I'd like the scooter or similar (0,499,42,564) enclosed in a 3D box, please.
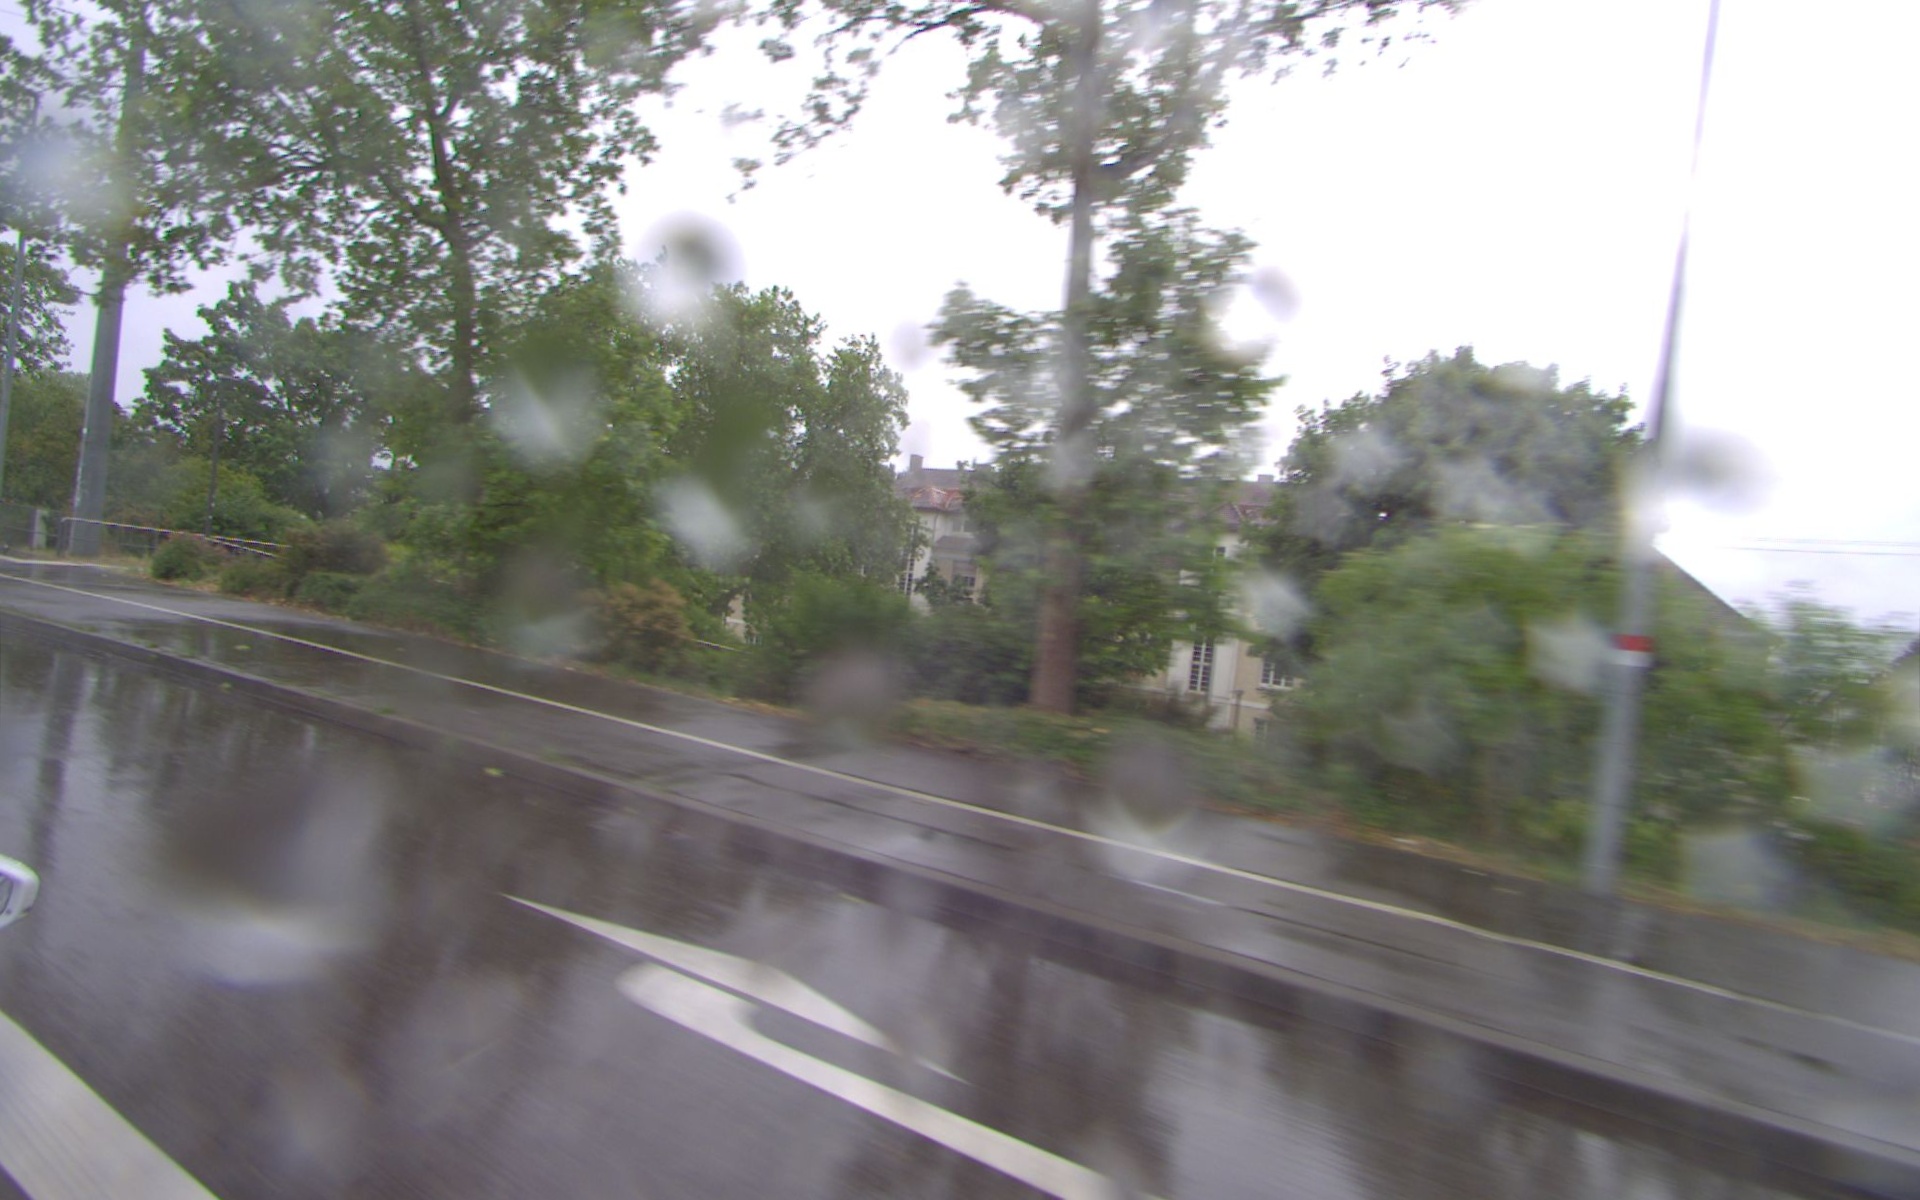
[{"bbox_3d":[-20.896,-1.532,22.000,1.620,1.308,0.760,6,-1,34],"label":"scooter or similar"}]
